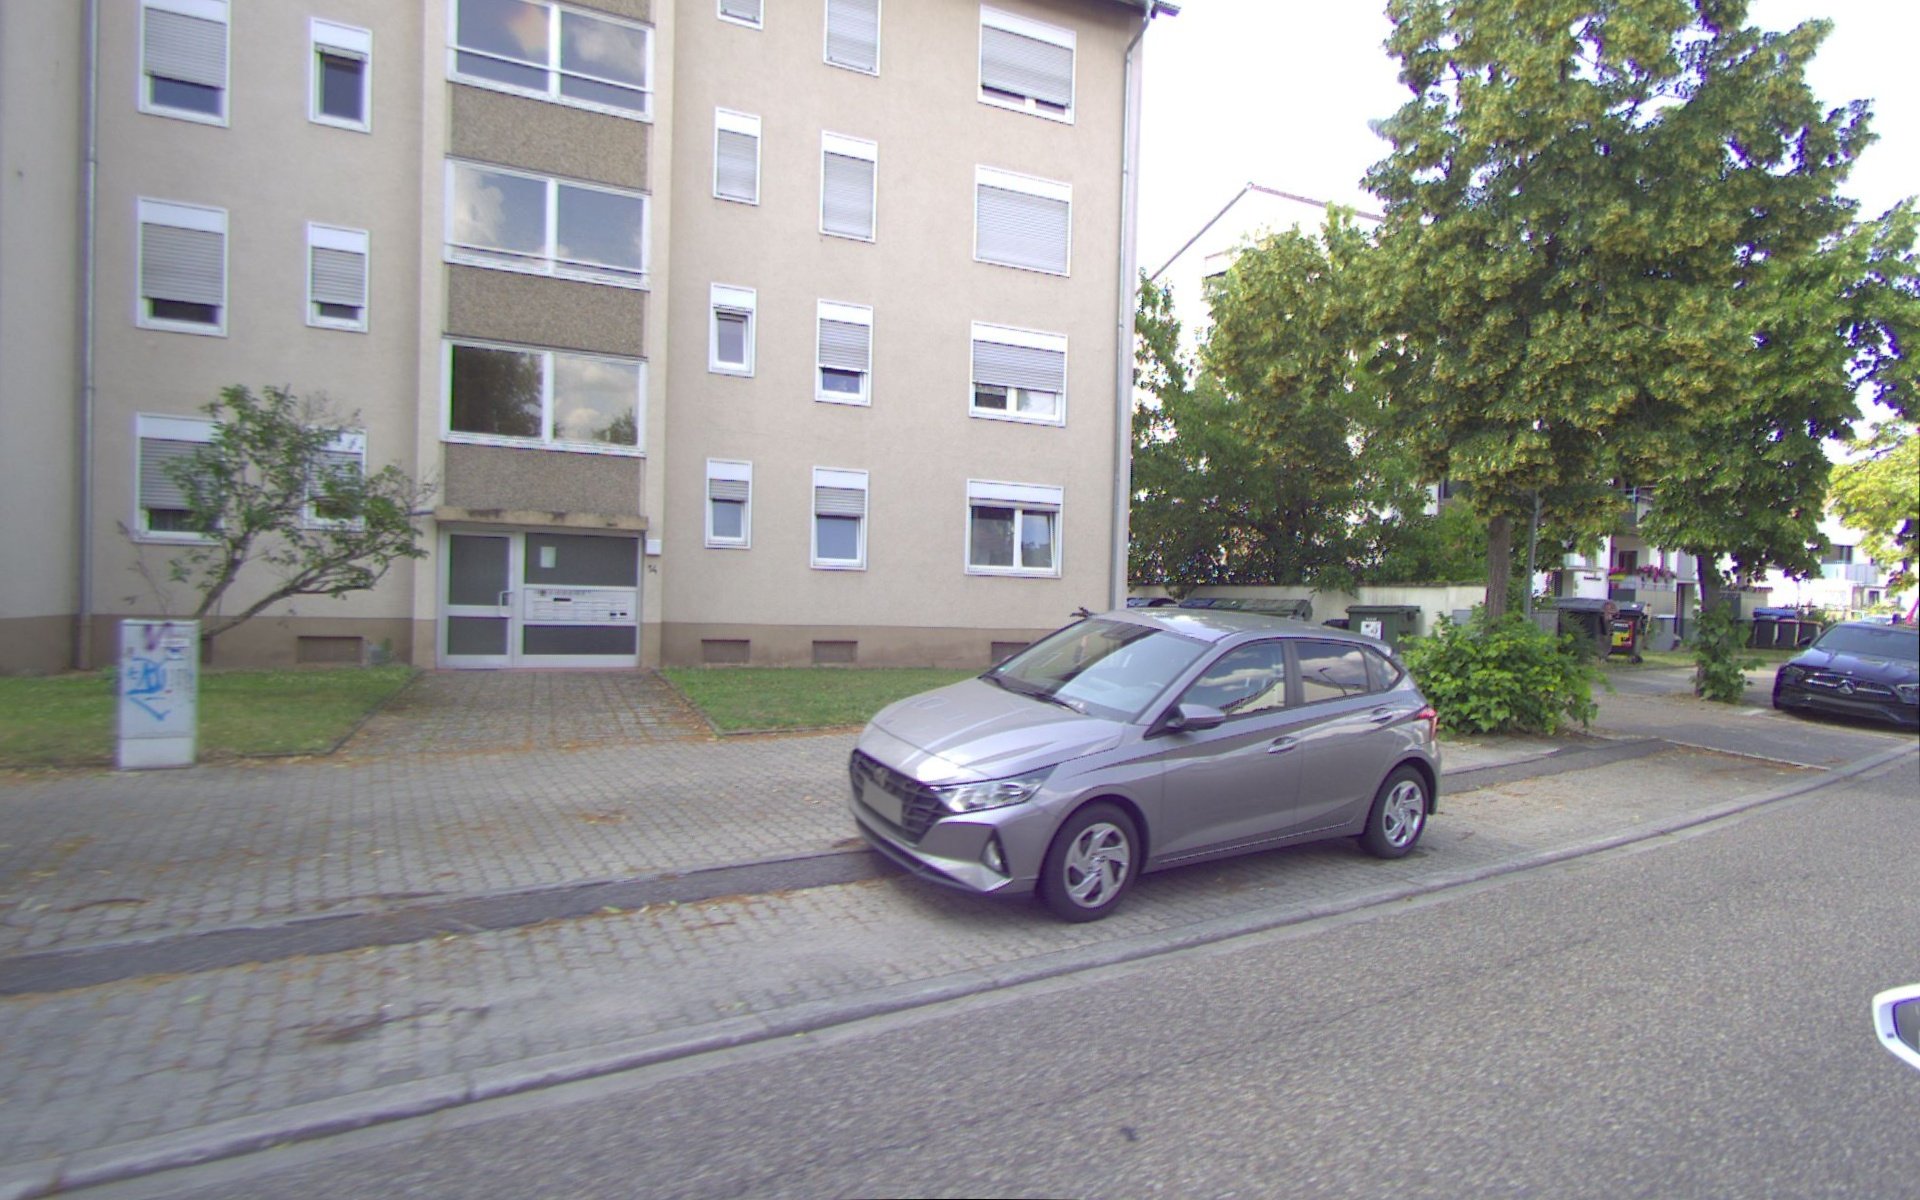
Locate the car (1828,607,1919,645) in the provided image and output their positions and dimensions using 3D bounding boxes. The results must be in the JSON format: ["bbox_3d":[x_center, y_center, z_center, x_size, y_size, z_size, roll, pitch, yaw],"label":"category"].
[{"bbox_3d":[40.519,1.169,44.538,4.387,1.477,1.777,2,3,-32],"label":"car"}]

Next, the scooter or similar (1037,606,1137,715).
[{"bbox_3d":[1.460,0.674,11.507,1.128,1.181,0.416,0,2,-34],"label":"scooter or similar"}]

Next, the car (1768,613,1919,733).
[{"bbox_3d":[14.289,1.043,15.632,4.399,1.477,1.772,1,4,-40],"label":"car"}]

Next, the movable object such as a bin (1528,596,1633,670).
[{"bbox_3d":[13.404,0.682,21.693,1.808,1.524,1.345,1,0,-35],"label":"movable object such as a bin"}]

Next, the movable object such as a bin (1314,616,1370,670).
[{"bbox_3d":[7.905,0.871,20.788,0.866,1.038,0.623,-3,1,-26],"label":"movable object such as a bin"}]

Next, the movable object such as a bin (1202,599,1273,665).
[{"bbox_3d":[6.437,0.728,23.334,0.920,1.457,1.236,-3,1,-34],"label":"movable object such as a bin"}]

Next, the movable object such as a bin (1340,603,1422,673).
[{"bbox_3d":[8.323,0.727,19.894,0.866,1.292,1.188,-3,1,-25],"label":"movable object such as a bin"}]

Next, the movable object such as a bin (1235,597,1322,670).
[{"bbox_3d":[6.841,0.694,21.603,1.358,1.457,1.187,-3,1,-37],"label":"movable object such as a bin"}]

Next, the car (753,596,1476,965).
[{"bbox_3d":[1.098,0.783,6.157,4.297,1.509,1.750,1,2,-33],"label":"car"}]

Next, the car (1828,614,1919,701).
[{"bbox_3d":[19.076,1.117,19.951,4.393,1.477,1.774,2,4,-36],"label":"car"}]

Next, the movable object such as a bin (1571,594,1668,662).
[{"bbox_3d":[15.444,0.627,23.523,1.808,1.524,1.345,1,0,-35],"label":"movable object such as a bin"}]

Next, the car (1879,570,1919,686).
[{"bbox_3d":[23.963,0.697,23.764,5.785,2.534,2.049,1,4,-36],"label":"car"}]

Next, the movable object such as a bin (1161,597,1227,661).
[{"bbox_3d":[5.687,0.689,24.414,0.920,1.457,1.236,-3,1,-34],"label":"movable object such as a bin"}]
